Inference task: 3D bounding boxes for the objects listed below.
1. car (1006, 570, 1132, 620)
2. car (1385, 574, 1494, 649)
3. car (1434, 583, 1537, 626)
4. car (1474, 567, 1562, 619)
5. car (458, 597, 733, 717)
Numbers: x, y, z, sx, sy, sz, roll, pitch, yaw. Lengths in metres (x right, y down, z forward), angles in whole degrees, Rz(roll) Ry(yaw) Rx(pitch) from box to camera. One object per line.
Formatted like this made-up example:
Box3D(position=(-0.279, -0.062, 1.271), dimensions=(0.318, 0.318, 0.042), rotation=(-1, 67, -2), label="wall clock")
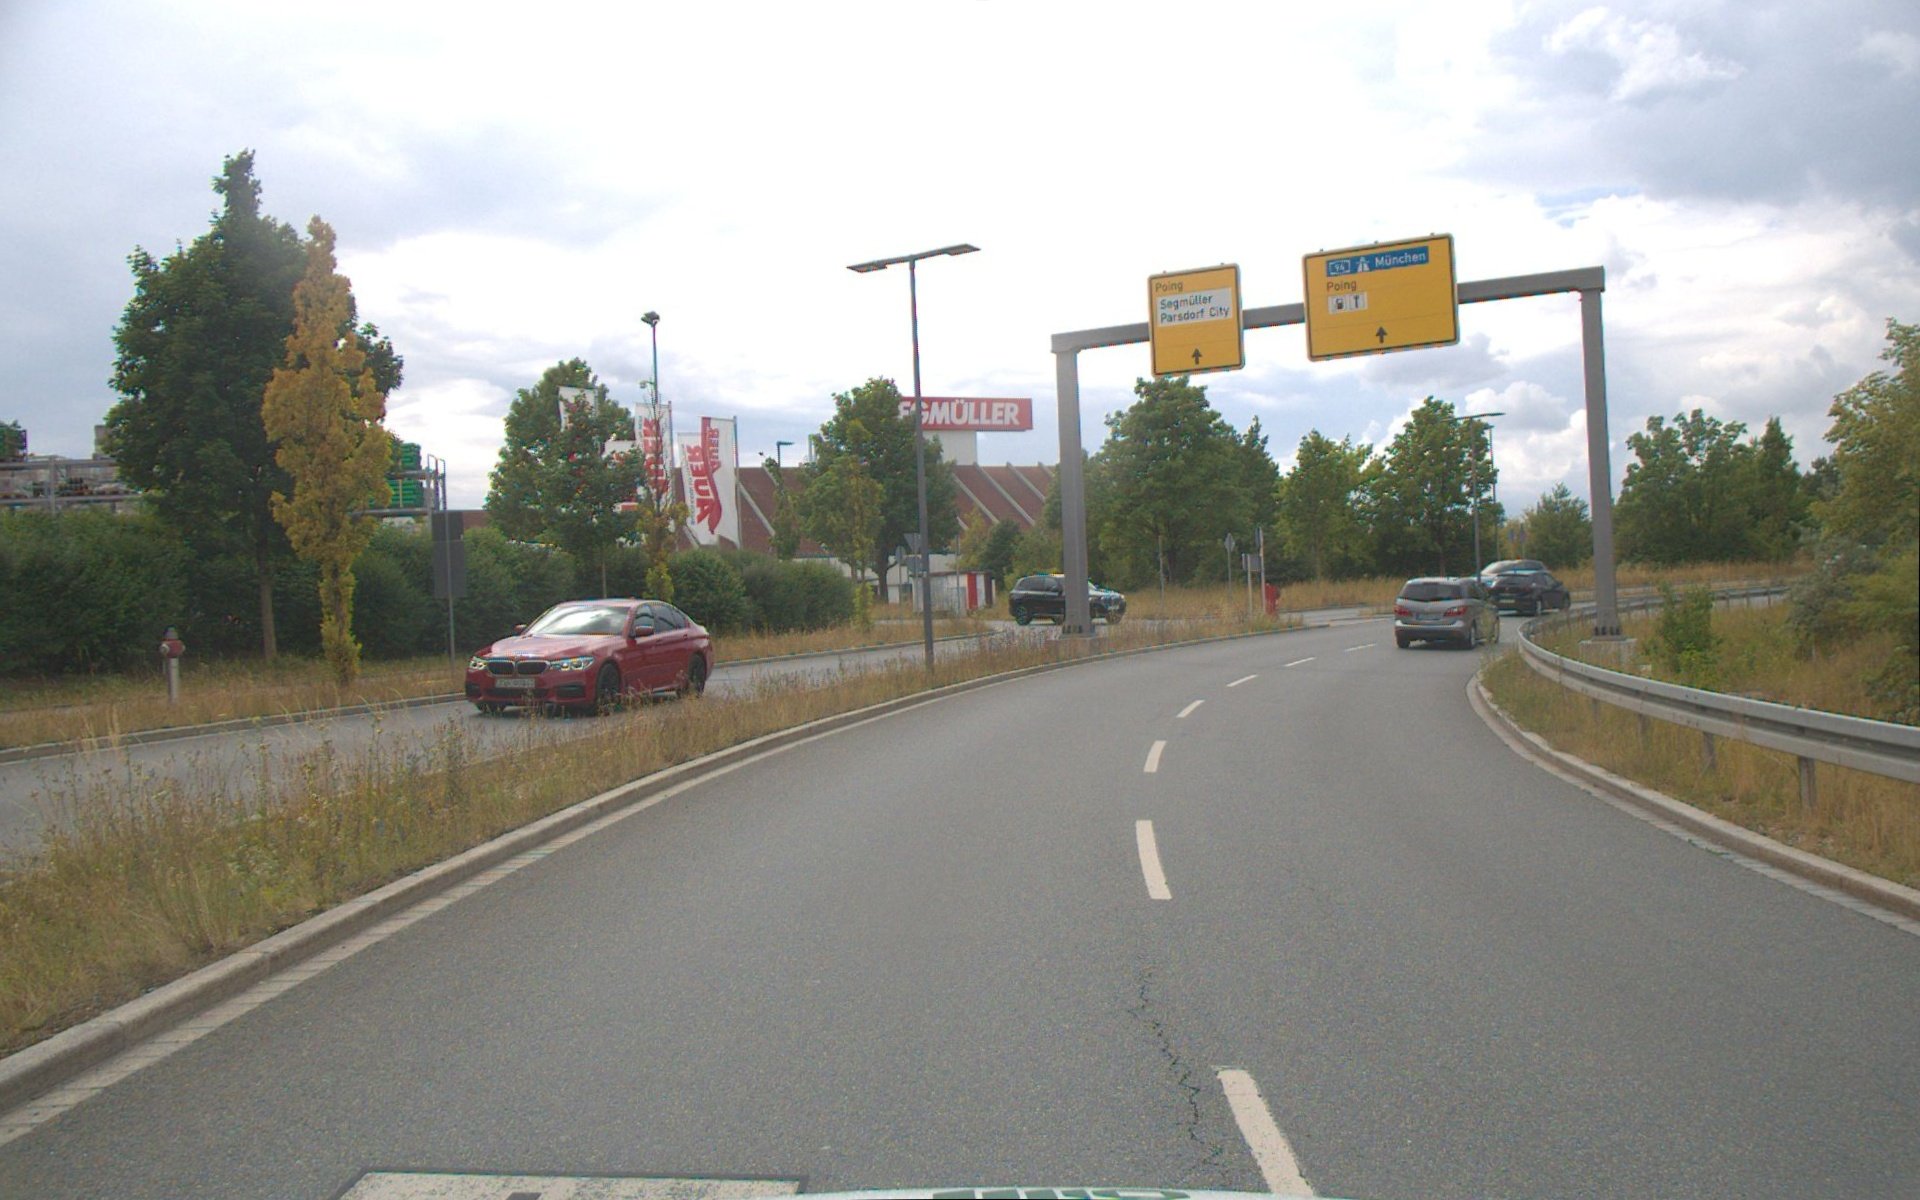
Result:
Box3D(position=(3.606, -0.152, 55.376), dimensions=(1.855, 1.577, 4.196), rotation=(-2, 1, -38), label="car")
Box3D(position=(11.272, 0.251, 38.702), dimensions=(1.733, 1.645, 3.917), rotation=(-2, 0, 27), label="car")
Box3D(position=(21.866, 0.173, 68.779), dimensions=(4.637, 1.658, 1.791), rotation=(-1, 2, -37), label="car")
Box3D(position=(18.437, -0.228, 54.562), dimensions=(1.836, 1.633, 3.723), rotation=(-2, 0, 34), label="car")
Box3D(position=(-4.940, 0.716, 23.239), dimensions=(1.753, 1.472, 4.976), rotation=(1, 0, 14), label="car")
